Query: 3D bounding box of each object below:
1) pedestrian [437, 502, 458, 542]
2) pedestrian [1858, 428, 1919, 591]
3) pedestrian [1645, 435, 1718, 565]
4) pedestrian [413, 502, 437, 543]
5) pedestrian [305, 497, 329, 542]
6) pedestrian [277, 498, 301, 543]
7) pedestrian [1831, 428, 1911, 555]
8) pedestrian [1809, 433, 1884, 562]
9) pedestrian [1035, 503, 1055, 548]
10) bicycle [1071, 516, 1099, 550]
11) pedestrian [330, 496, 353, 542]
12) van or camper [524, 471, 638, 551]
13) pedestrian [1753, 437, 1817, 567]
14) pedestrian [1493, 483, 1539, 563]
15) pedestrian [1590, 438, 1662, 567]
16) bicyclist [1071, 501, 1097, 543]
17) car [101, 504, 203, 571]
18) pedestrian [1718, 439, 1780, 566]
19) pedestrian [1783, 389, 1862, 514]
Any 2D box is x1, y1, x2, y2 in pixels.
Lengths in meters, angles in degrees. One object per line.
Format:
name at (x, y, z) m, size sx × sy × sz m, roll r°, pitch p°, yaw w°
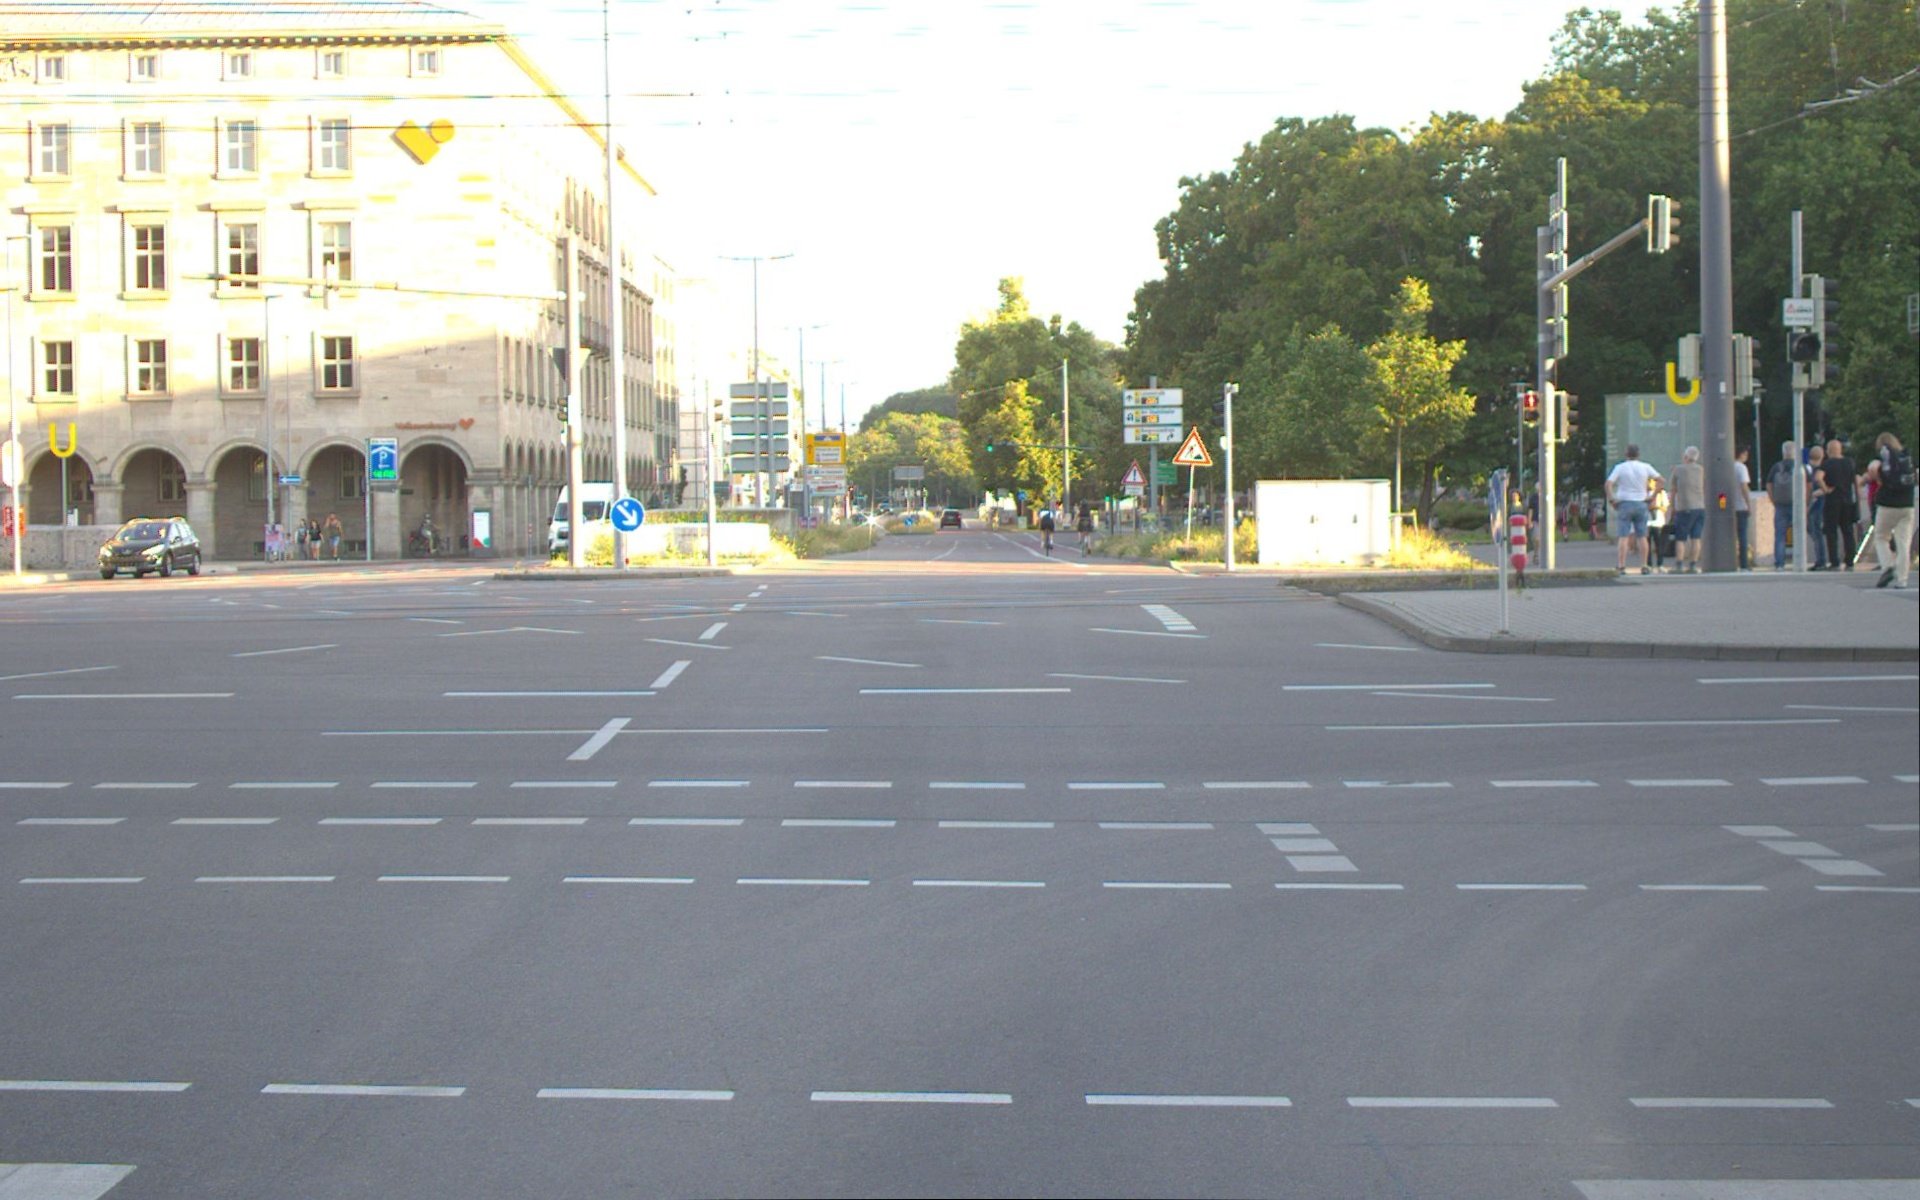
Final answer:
pedestrian at (-19.982, -3.050, 134.039) m, size 0.633 × 1.562 × 0.775 m, roll -1°, pitch 2°, yaw 1°
pedestrian at (10.075, -0.973, 36.904) m, size 0.692 × 1.724 × 0.741 m, roll -1°, pitch 2°, yaw 2°
pedestrian at (9.736, -1.347, 46.381) m, size 0.808 × 1.724 × 0.688 m, roll -1°, pitch 2°, yaw -2°
pedestrian at (-20.797, -3.019, 133.562) m, size 0.772 × 1.562 × 0.636 m, roll -2°, pitch 2°, yaw -22°
pedestrian at (-22.368, -2.809, 119.573) m, size 0.633 × 1.562 × 0.775 m, roll -1°, pitch 2°, yaw 1°
pedestrian at (-23.516, -2.802, 120.526) m, size 0.633 × 1.562 × 0.775 m, roll -1°, pitch 2°, yaw 1°
pedestrian at (12.468, -1.487, 47.077) m, size 0.685 × 1.724 × 0.811 m, roll -2°, pitch 2°, yaw -26°
pedestrian at (11.989, -1.392, 46.495) m, size 0.808 × 1.724 × 0.688 m, roll -1°, pitch 2°, yaw -1°
pedestrian at (2.579, -2.264, 104.202) m, size 0.522 × 1.369 × 0.688 m, roll -1°, pitch 2°, yaw -4°
bicycle at (3.701, -1.983, 102.005) m, size 0.651 × 0.967 × 1.485 m, roll -1°, pitch 2°, yaw -4°
pedestrian at (-21.634, -2.834, 120.226) m, size 0.633 × 1.562 × 0.775 m, roll -1°, pitch 2°, yaw 1°
van or camper at (-13.397, -3.179, 121.769) m, size 1.885 × 2.750 × 4.927 m, roll 0°, pitch 2°, yaw 21°
pedestrian at (11.164, -1.329, 46.553) m, size 0.808 × 1.724 × 0.687 m, roll 0°, pitch 2°, yaw 12°
pedestrian at (12.158, -1.698, 75.148) m, size 0.808 × 1.724 × 0.929 m, roll -1°, pitch 2°, yaw -2°
pedestrian at (8.974, -1.318, 46.361) m, size 0.808 × 1.724 × 0.688 m, roll -1°, pitch 2°, yaw -2°
bicyclist at (3.674, -2.314, 102.035) m, size 0.651 × 1.219 × 0.861 m, roll -1°, pitch 2°, yaw -4°
car at (-21.314, -1.672, 90.774) m, size 1.993 × 1.656 × 4.001 m, roll -1°, pitch 2°, yaw -4°
pedestrian at (10.838, -1.342, 47.236) m, size 0.808 × 1.724 × 0.687 m, roll 0°, pitch 2°, yaw 12°
pedestrian at (12.042, -2.075, 48.026) m, size 0.686 × 1.724 × 0.811 m, roll -2°, pitch 2°, yaw -33°
